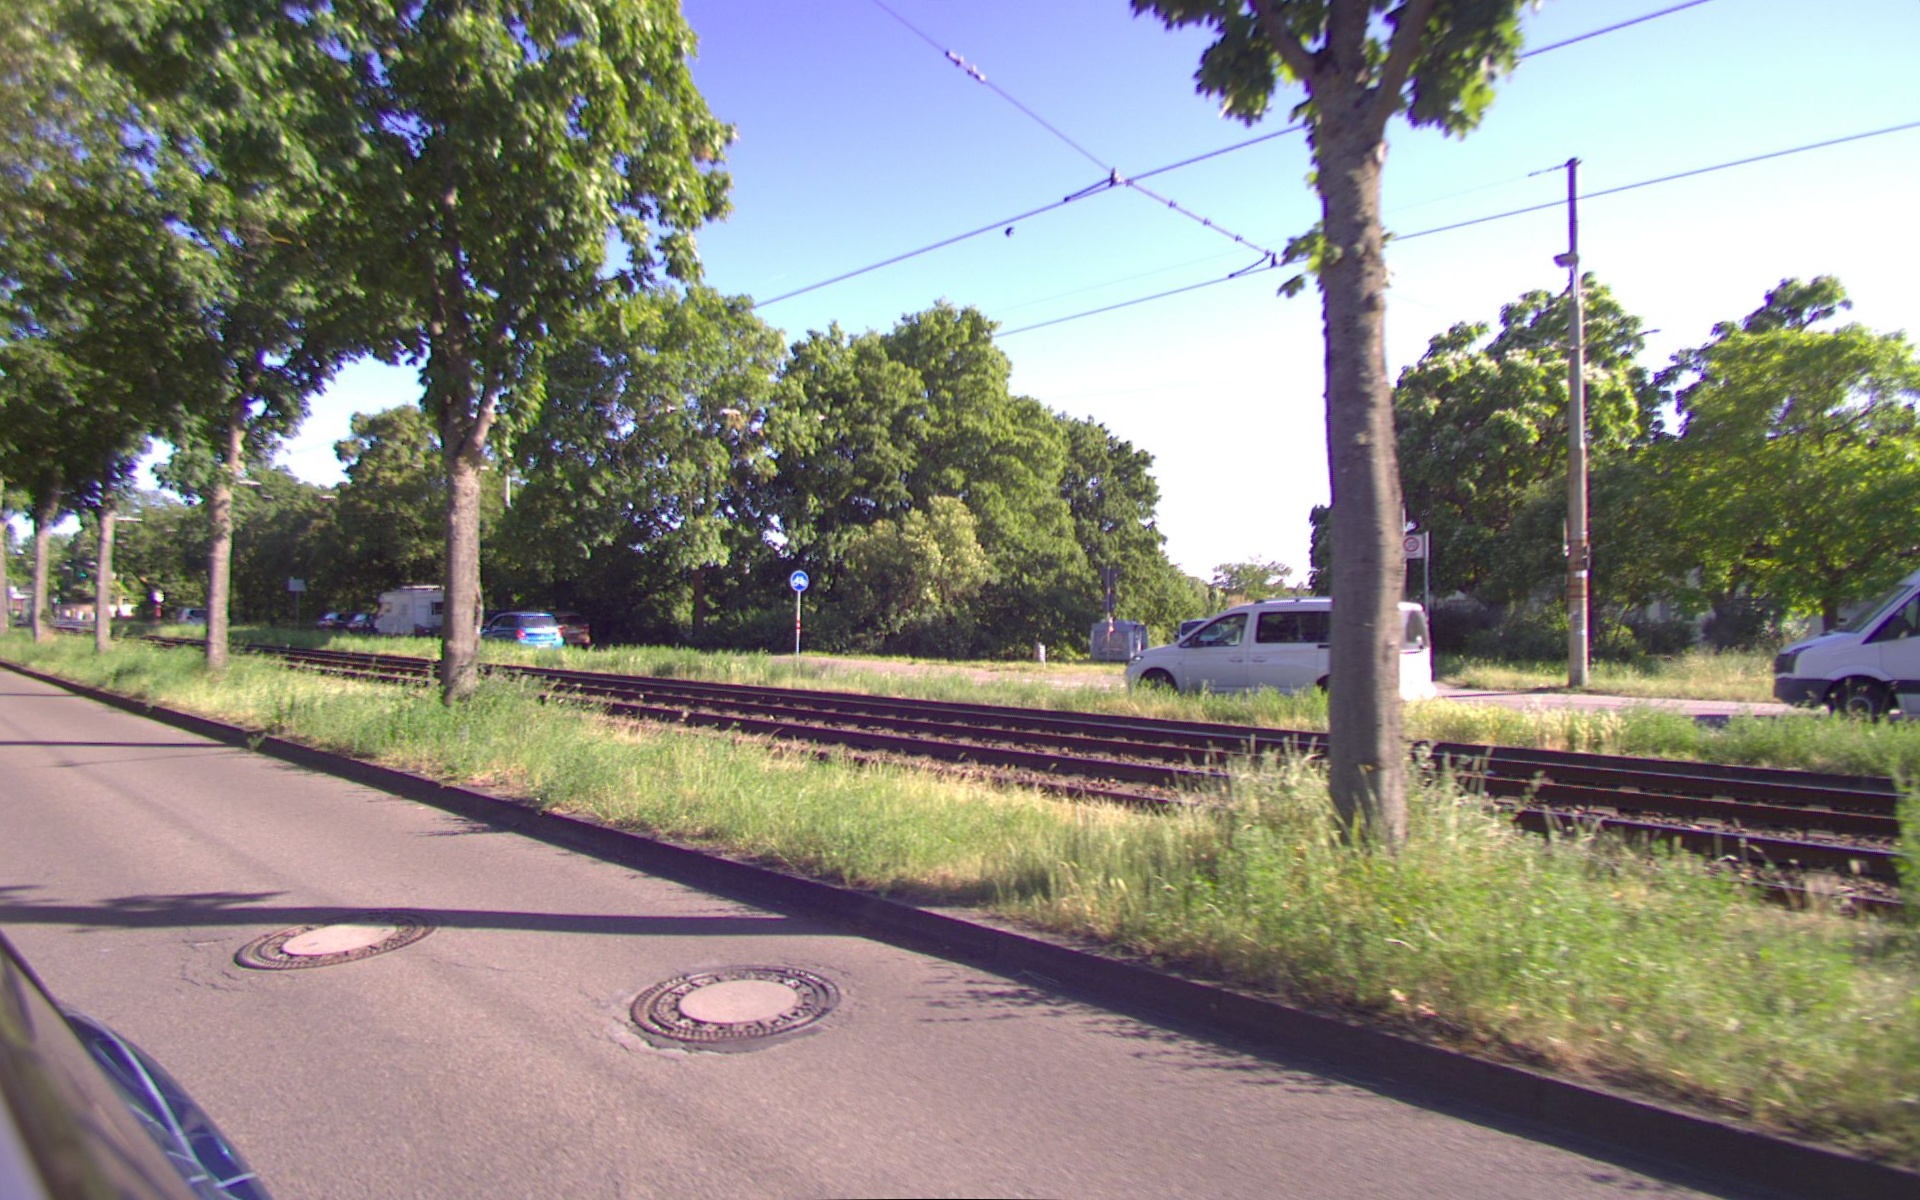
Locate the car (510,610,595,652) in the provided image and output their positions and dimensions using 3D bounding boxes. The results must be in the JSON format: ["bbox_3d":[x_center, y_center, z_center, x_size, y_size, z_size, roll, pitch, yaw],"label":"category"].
[{"bbox_3d":[-17.080,1.267,42.307,4.248,1.596,1.656,0,1,43],"label":"car"}]

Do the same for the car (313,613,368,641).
[{"bbox_3d":[-36.685,1.571,59.916,4.282,1.575,1.748,0,0,43],"label":"car"}]

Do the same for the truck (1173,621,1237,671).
[{"bbox_3d":[10.602,1.914,43.539,2.069,1.883,4.907,0,1,21],"label":"truck"}]

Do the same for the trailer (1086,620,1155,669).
[{"bbox_3d":[5.824,1.553,36.382,1.741,1.515,3.733,0,1,21],"label":"trailer"}]

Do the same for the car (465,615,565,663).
[{"bbox_3d":[-14.825,1.253,33.638,3.818,1.405,1.541,0,1,41],"label":"car"}]

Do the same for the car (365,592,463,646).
[{"bbox_3d":[-28.001,0.949,51.776,6.795,2.600,2.202,-1,0,41],"label":"car"}]

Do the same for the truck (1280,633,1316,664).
[{"bbox_3d":[21.068,2.979,63.036,1.875,1.686,3.865,0,1,23],"label":"truck"}]

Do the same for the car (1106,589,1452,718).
[{"bbox_3d":[4.923,0.722,16.126,4.980,1.757,1.792,0,1,41],"label":"car"}]

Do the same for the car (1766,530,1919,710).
[{"bbox_3d":[15.106,0.269,14.011,6.133,2.515,1.981,0,1,41],"label":"car"}]

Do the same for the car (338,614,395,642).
[{"bbox_3d":[-33.331,1.552,56.798,3.999,1.445,1.692,0,1,42],"label":"car"}]

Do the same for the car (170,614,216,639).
[{"bbox_3d":[-52.407,1.780,69.101,4.441,1.539,1.709,0,1,42],"label":"car"}]

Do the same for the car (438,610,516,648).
[{"bbox_3d":[-22.489,1.318,47.090,4.530,1.635,1.605,0,1,41],"label":"car"}]
